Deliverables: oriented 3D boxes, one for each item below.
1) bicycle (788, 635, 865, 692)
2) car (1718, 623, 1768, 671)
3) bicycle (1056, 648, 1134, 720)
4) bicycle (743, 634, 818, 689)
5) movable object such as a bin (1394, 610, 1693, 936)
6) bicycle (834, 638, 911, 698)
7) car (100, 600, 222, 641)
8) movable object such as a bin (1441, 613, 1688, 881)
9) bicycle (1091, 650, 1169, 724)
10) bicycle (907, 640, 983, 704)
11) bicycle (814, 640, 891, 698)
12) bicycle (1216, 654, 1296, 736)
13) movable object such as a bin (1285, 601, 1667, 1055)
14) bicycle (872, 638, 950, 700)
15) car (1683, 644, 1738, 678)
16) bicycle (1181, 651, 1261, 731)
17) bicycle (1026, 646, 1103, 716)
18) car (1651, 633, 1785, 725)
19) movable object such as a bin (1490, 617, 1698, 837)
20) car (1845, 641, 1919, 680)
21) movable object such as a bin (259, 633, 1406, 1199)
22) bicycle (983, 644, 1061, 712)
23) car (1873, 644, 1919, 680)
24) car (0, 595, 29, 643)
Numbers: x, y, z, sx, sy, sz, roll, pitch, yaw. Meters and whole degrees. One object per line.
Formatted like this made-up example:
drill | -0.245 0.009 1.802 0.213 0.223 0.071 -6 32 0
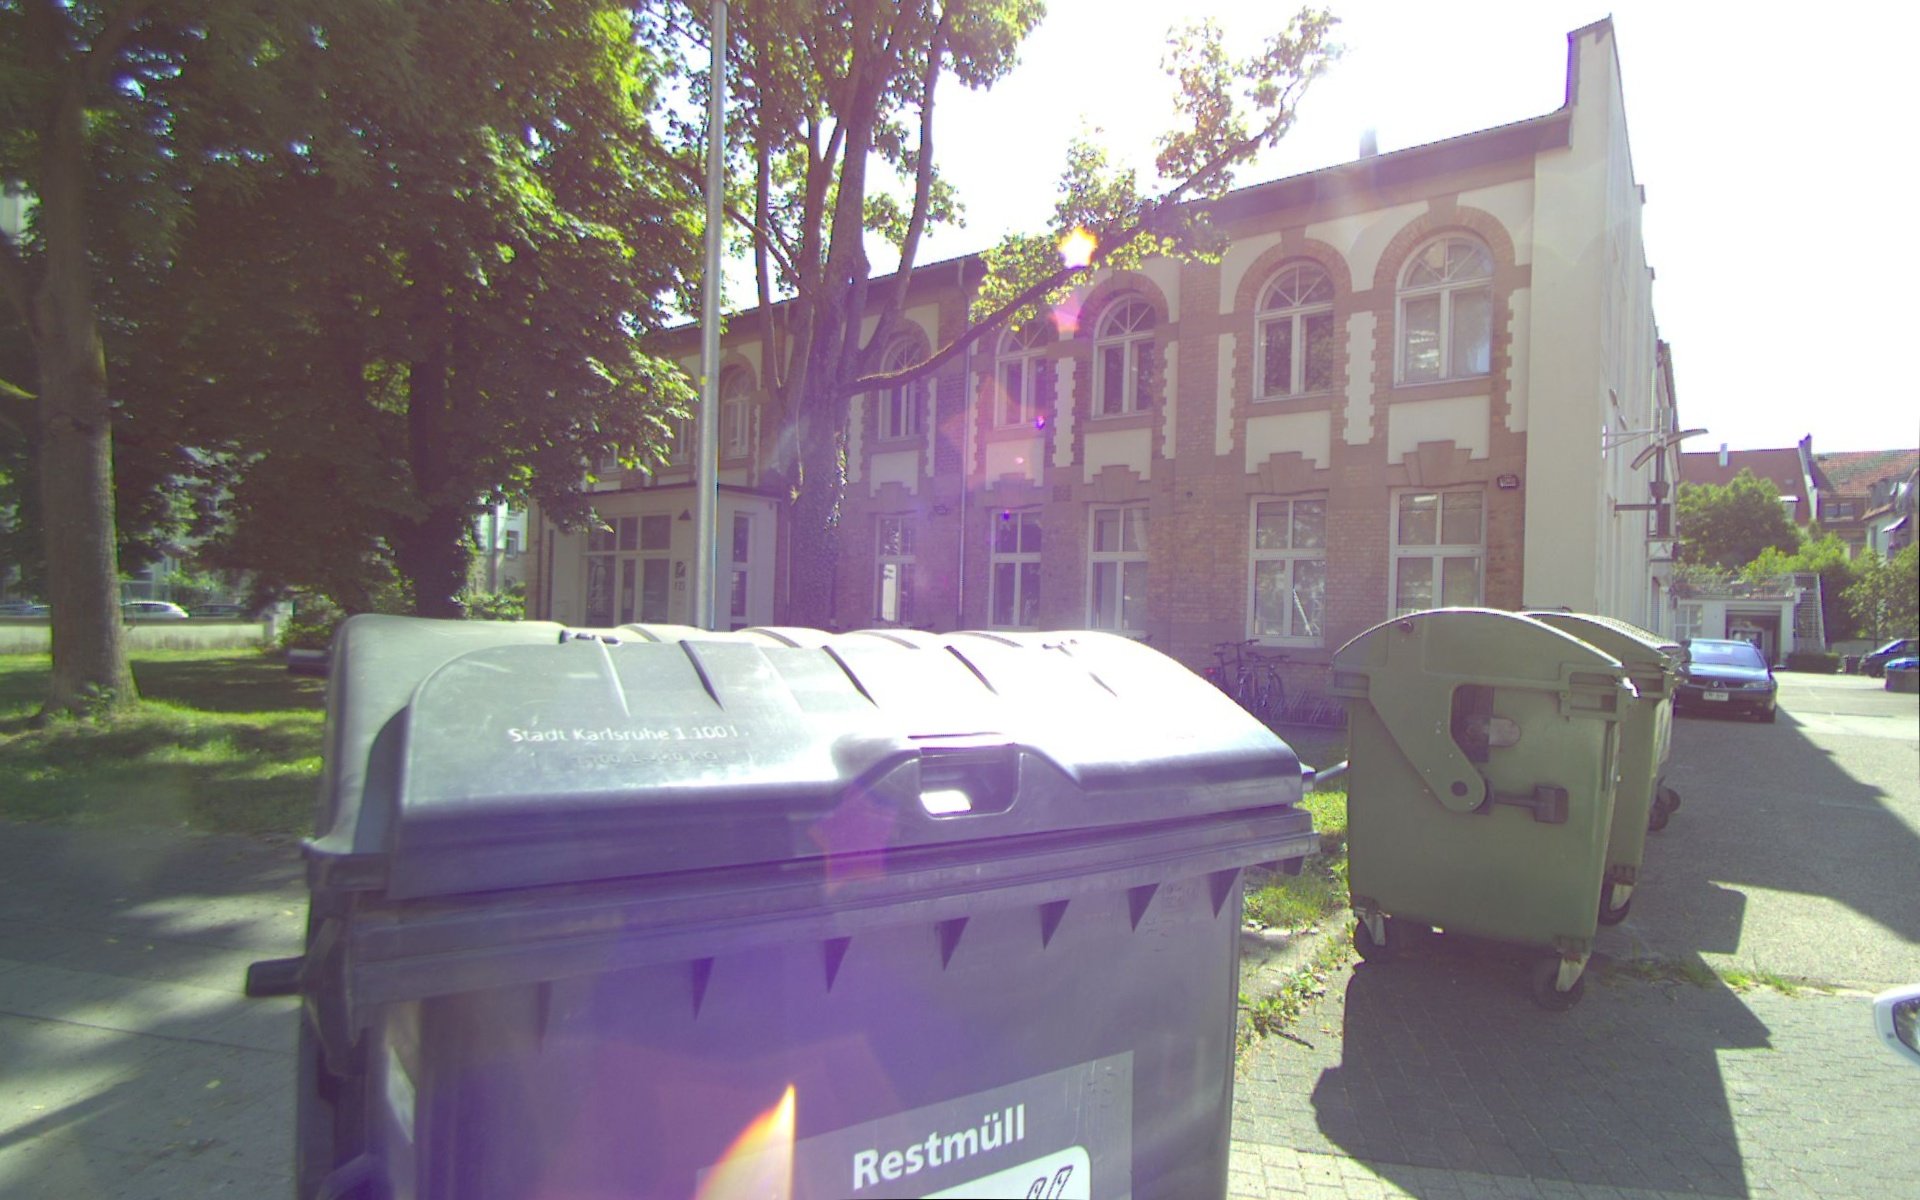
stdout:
bicycle | -2.469 1.154 18.649 0.439 1.005 1.534 0 -1 39
car | 46.300 2.791 59.496 2.147 2.641 6.710 0 -3 37
bicycle | 2.084 1.256 15.350 0.439 1.005 1.534 0 -1 39
bicycle | -3.470 1.188 19.479 0.438 1.005 1.536 2 -1 35
movable object such as a bin | 3.024 0.802 5.366 1.225 1.450 1.222 1 -1 26
bicycle | -1.560 1.196 18.040 0.439 1.005 1.534 0 -1 39
car | -34.794 0.915 43.874 3.957 1.684 1.813 2 -1 -33
movable object such as a bin | 3.896 0.833 6.439 1.228 1.450 1.361 1 -1 36
bicycle | 2.554 1.269 14.990 0.439 1.005 1.534 0 -1 39
bicycle | -0.243 1.197 17.069 0.439 1.005 1.535 0 -1 37
bicycle | -1.940 1.231 18.325 0.369 1.002 1.593 1 -1 39
bicycle | 4.089 1.274 13.792 0.439 1.005 1.678 0 -1 39
movable object such as a bin | 2.174 0.781 4.251 1.226 1.501 1.336 1 -1 31
bicycle | -0.832 1.175 17.392 0.439 1.005 1.534 0 -1 39
car | 33.258 2.661 44.610 1.827 1.337 3.987 3 0 36
bicycle | 3.683 1.246 14.076 0.439 1.005 1.659 0 -1 39
bicycle | 1.650 1.235 15.681 0.439 1.005 1.534 0 -1 39
car | 14.448 1.488 19.274 1.813 1.460 4.416 3 -2 36
movable object such as a bin | 4.822 0.876 7.626 1.228 1.450 1.345 1 -1 36
car | 45.714 2.895 47.892 4.874 1.791 2.095 0 -1 25
movable object such as a bin | -0.263 0.785 1.595 1.390 1.415 1.236 2 -1 -35
bicycle | 1.014 1.221 16.062 0.439 1.005 1.534 0 -1 39
car | 44.017 2.823 45.108 4.171 1.552 1.994 0 -1 34
car | -34.926 0.628 34.599 3.963 1.661 1.785 1 -1 -37
